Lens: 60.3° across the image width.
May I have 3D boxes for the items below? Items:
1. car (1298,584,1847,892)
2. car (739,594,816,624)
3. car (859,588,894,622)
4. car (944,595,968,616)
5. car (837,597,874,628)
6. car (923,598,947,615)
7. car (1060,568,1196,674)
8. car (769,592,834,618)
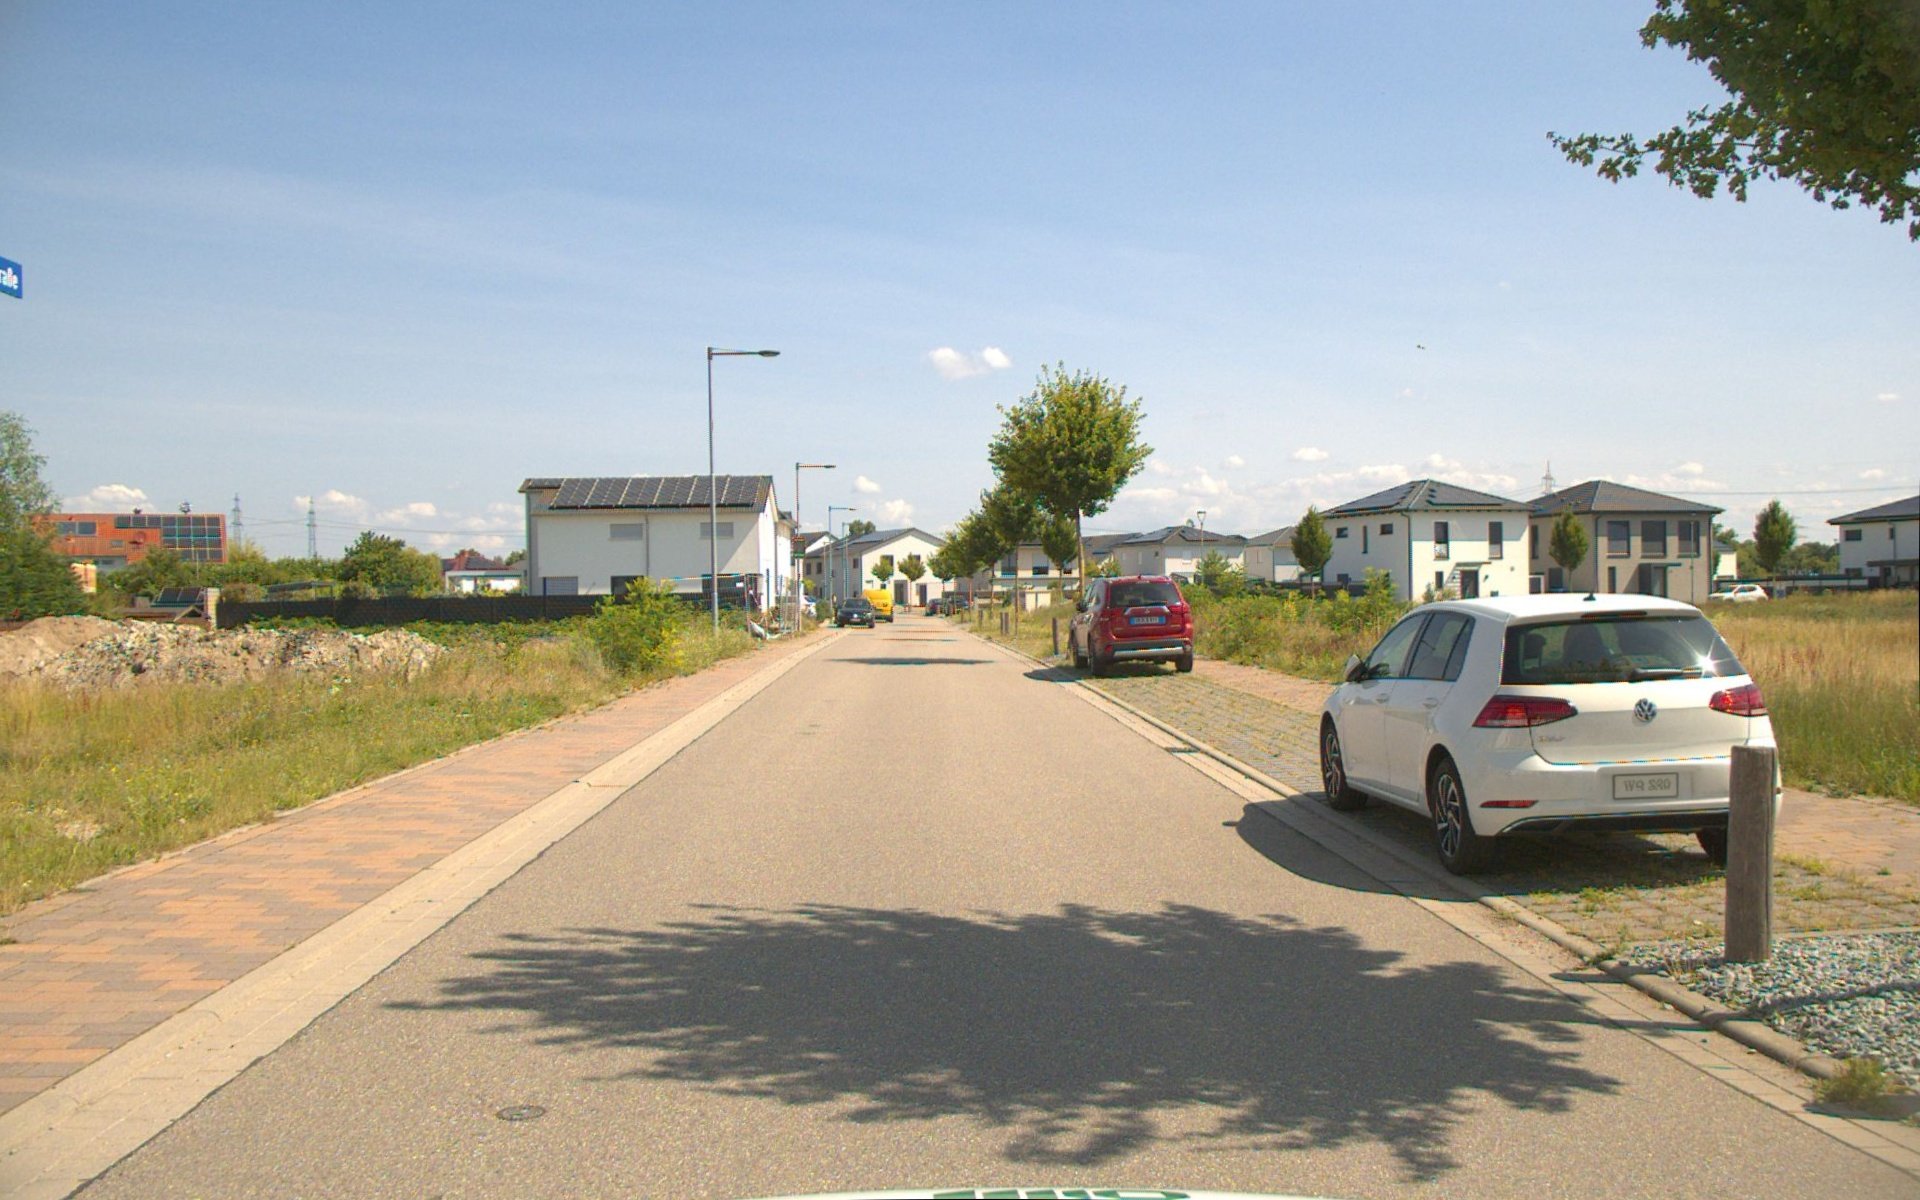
[{"bbox_3d":[3.498,0.668,10.355,1.739,1.444,4.164,-3,1,-2],"label":"car"},{"bbox_3d":[-10.139,0.504,91.853,3.983,1.609,1.785,0,1,3],"label":"car"},{"bbox_3d":[-5.175,0.325,101.696,1.904,2.016,4.211,-1,-1,-6],"label":"car"},{"bbox_3d":[-0.322,0.410,121.966,1.606,1.427,3.808,-1,-2,-3],"label":"car"},{"bbox_3d":[-5.114,0.594,81.518,1.710,1.429,4.158,1,0,-2],"label":"car"},{"bbox_3d":[-2.139,0.558,140.514,1.598,1.346,3.825,-1,-2,-9],"label":"car"},{"bbox_3d":[2.946,0.326,29.865,1.741,1.692,4.431,-2,1,-3],"label":"car"},{"bbox_3d":[-10.760,0.359,112.213,4.096,1.531,1.806,3,-1,-18],"label":"car"}]
